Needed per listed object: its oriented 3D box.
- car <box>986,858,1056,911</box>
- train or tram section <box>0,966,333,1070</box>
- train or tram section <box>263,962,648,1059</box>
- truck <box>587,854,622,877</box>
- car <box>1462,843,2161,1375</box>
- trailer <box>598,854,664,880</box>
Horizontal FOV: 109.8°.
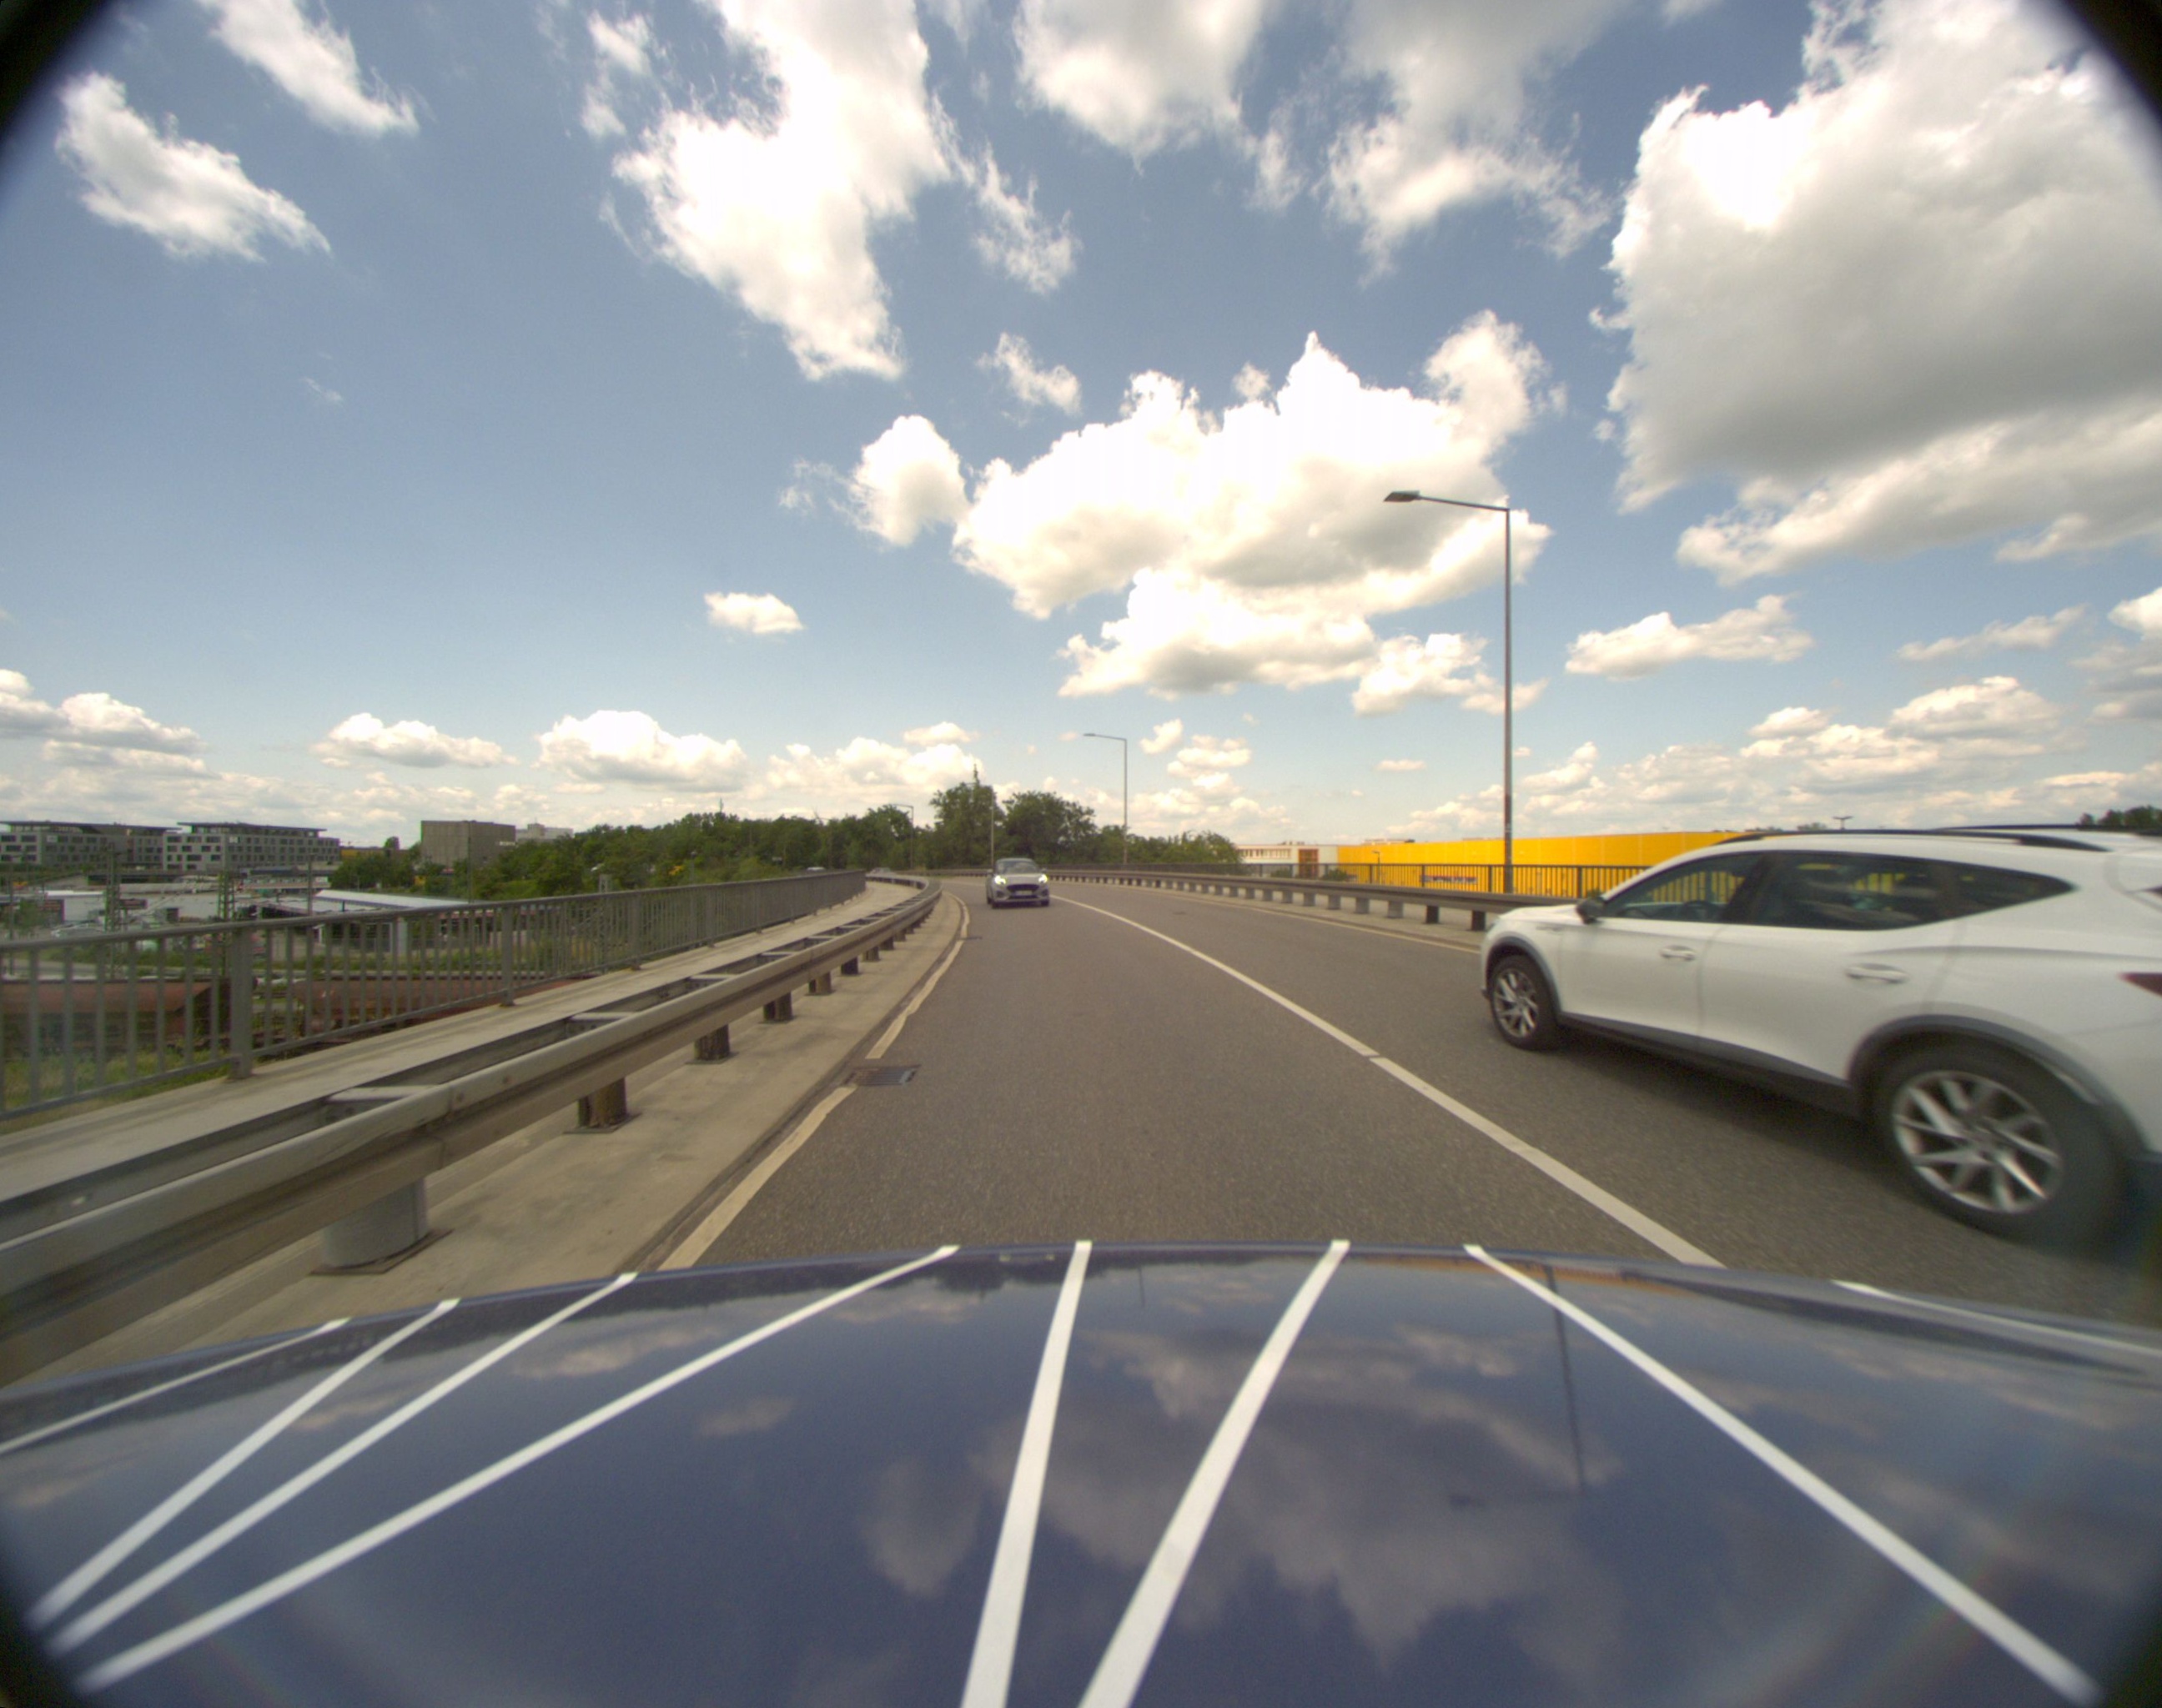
[{"bbox_3d":[-2.077,0.927,25.062,1.829,1.516,3.996,-3,1,-10],"label":"car"},{"bbox_3d":[-48.799,8.080,37.683,18.892,4.131,3.217,0,3,-4],"label":"train or tram section"},{"bbox_3d":[-31.083,7.795,38.293,16.596,4.131,3.139,0,3,0],"label":"train or tram section"},{"bbox_3d":[-87.927,2.096,140.310,5.639,4.111,2.775,-2,1,26],"label":"truck"},{"bbox_3d":[4.030,0.746,3.929,1.811,1.526,4.348,-2,0,-2],"label":"car"},{"bbox_3d":[-81.231,2.406,136.986,14.196,4.255,2.719,-2,1,27],"label":"trailer"}]
